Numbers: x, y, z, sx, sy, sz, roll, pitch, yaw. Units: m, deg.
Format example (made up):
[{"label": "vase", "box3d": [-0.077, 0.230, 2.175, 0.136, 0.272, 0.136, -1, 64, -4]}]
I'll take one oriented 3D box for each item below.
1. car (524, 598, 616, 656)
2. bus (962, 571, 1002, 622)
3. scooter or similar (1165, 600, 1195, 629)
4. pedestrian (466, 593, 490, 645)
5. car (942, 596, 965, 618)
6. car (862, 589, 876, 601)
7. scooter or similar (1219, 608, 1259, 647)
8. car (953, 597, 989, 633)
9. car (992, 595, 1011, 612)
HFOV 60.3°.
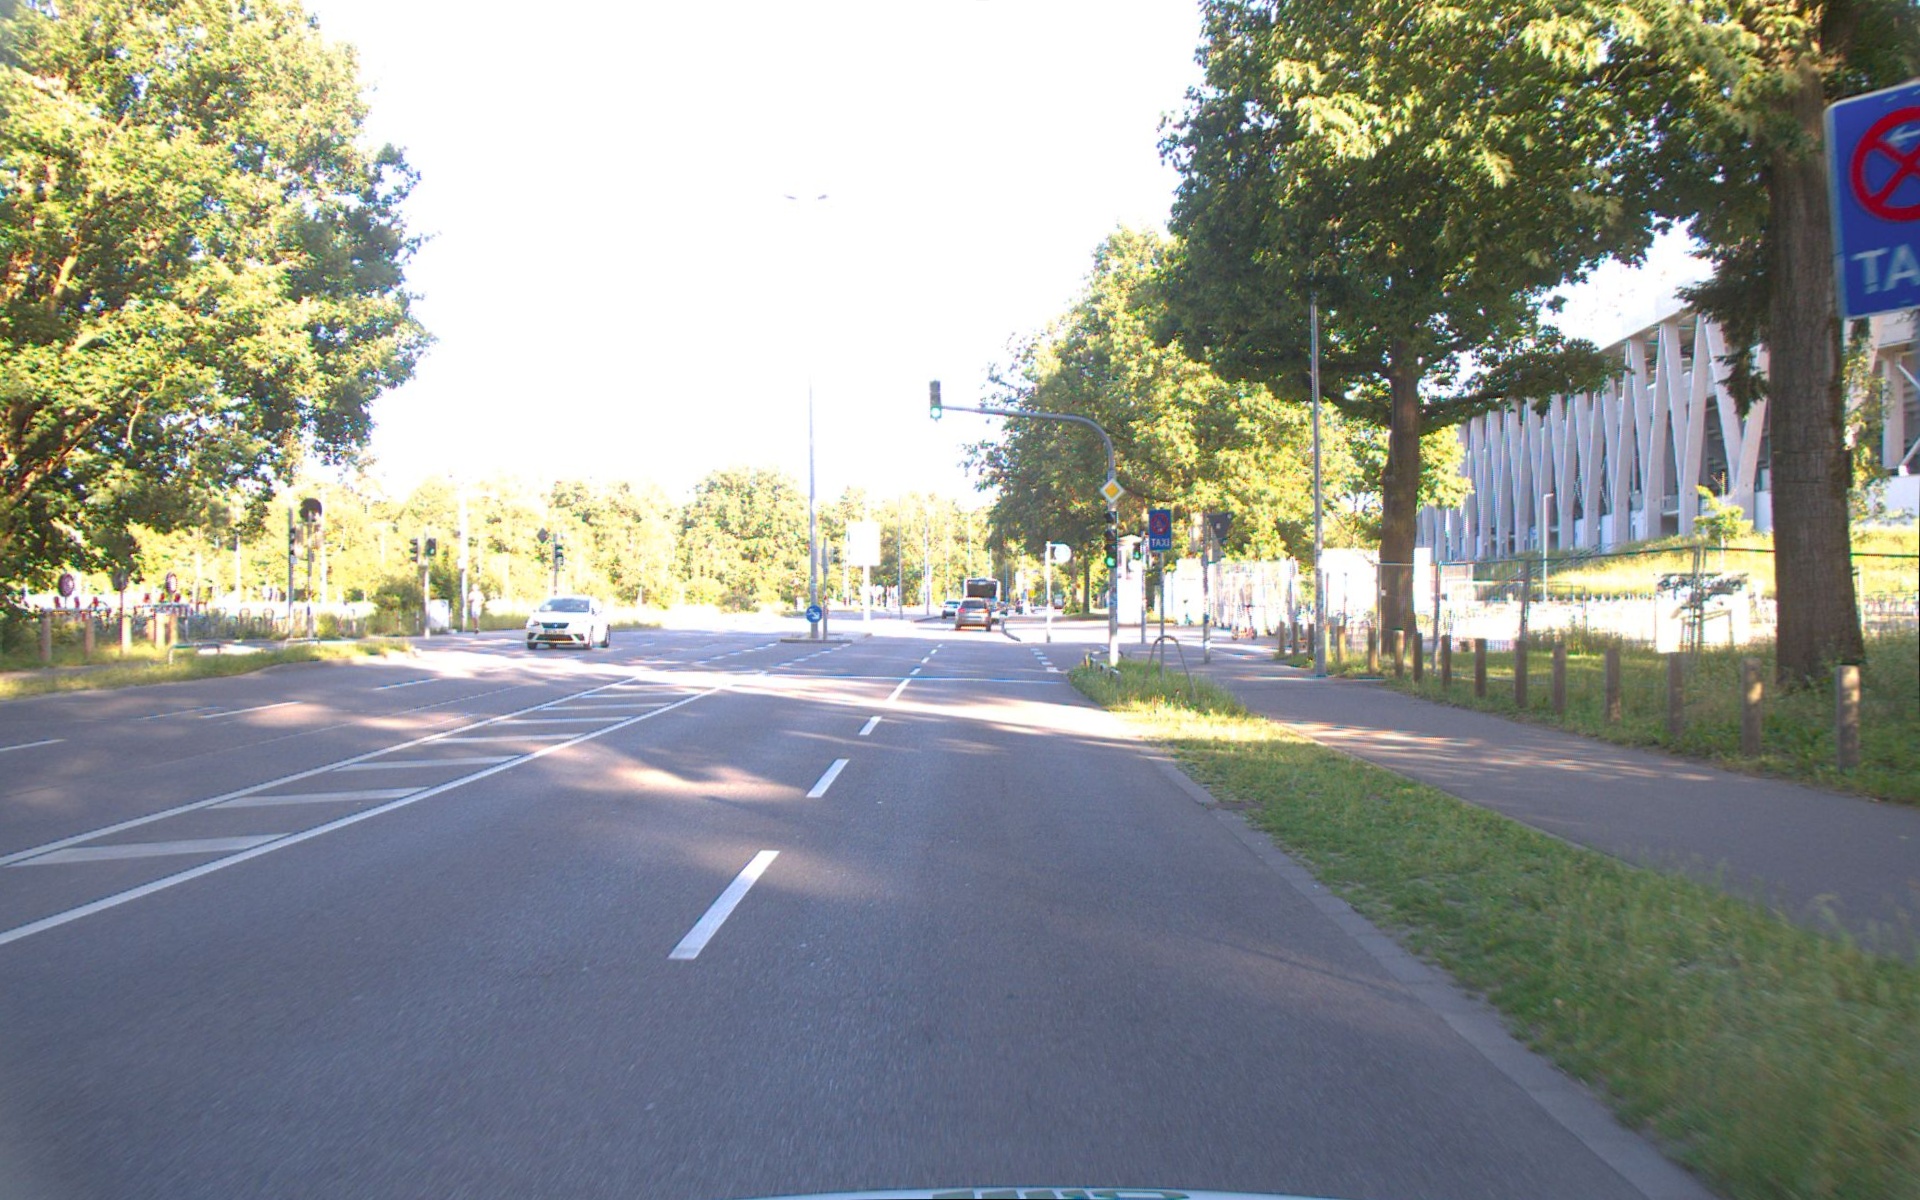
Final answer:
[{"label": "car", "box3d": [-10.686, 0.714, 45.541, 1.676, 1.489, 4.098, 2, 0, -3]}, {"label": "bus", "box3d": [1.468, -0.244, 114.443, 2.552, 3.427, 7.975, 1, 0, 0]}, {"label": "scooter or similar", "box3d": [9.579, 0.633, 72.016, 0.558, 1.278, 1.592, 0, -1, 38]}, {"label": "pedestrian", "box3d": [-18.223, 0.728, 62.511, 0.599, 1.943, 1.106, 0, -1, 0]}, {"label": "car", "box3d": [-0.511, 0.593, 136.248, 1.841, 1.796, 4.000, 0, 0, 0]}, {"label": "car", "box3d": [-13.378, -0.787, 243.316, 1.825, 1.713, 3.772, -1, 0, 0]}, {"label": "scooter or similar", "box3d": [9.633, 0.938, 57.097, 1.350, 1.310, 0.594, 0, 2, -43]}, {"label": "car", "box3d": [0.565, 0.745, 85.646, 1.841, 1.796, 4.000, 0, 0, 0]}, {"label": "car", "box3d": [4.278, 0.337, 170.042, 1.824, 1.713, 3.774, -1, 0, 4]}]
